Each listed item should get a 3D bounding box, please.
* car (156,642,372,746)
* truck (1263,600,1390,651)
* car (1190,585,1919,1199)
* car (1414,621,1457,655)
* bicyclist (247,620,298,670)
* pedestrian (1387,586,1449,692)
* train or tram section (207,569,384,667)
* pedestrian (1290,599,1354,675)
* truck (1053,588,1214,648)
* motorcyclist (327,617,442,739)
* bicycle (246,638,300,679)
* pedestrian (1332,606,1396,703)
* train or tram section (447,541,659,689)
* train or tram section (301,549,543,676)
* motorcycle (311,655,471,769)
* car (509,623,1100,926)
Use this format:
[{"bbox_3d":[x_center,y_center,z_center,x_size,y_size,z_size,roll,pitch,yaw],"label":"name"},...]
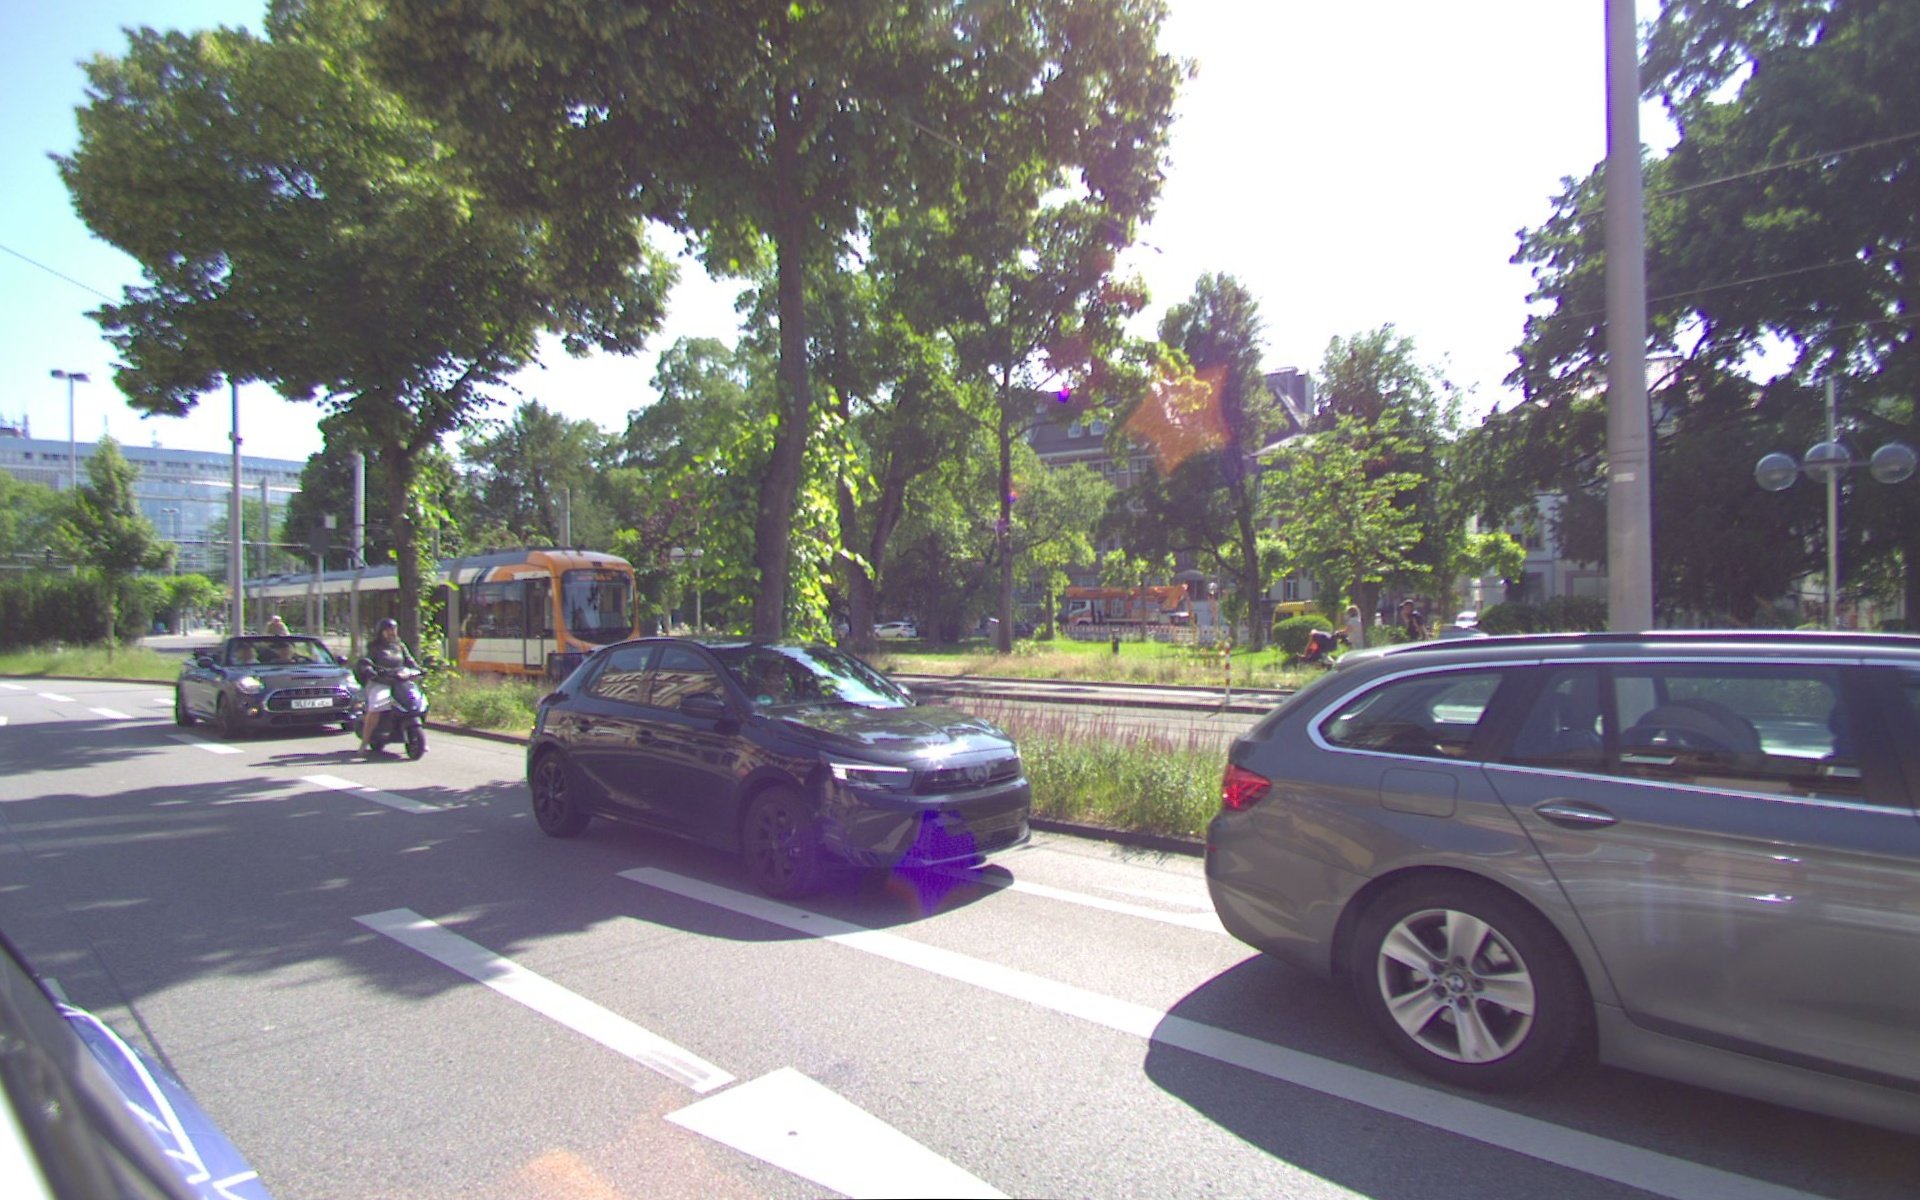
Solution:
[{"bbox_3d":[-10.276,1.280,14.842,3.911,1.318,1.616,-2,-3,40],"label":"car"},{"bbox_3d":[24.566,1.741,68.077,7.639,3.240,2.436,-1,-2,36],"label":"truck"},{"bbox_3d":[3.211,0.726,2.868,4.744,1.497,1.730,-2,-3,41],"label":"car"},{"bbox_3d":[30.231,2.400,64.484,1.985,2.029,4.527,-1,-1,20],"label":"car"},{"bbox_3d":[-19.801,1.275,29.155,1.232,1.404,0.901,-2,-2,40],"label":"bicyclist"},{"bbox_3d":[9.748,0.816,21.537,1.110,2.167,0.803,1,-2,-43],"label":"pedestrian"},{"bbox_3d":[-26.995,0.799,40.738,12.405,3.429,2.731,-2,-2,41],"label":"train or tram section"},{"bbox_3d":[8.024,0.805,22.446,1.023,1.632,0.935,1,-2,-43],"label":"pedestrian"},{"bbox_3d":[13.220,1.468,78.029,11.785,4.295,3.589,-2,-2,35],"label":"truck"},{"bbox_3d":[-6.822,0.893,11.997,0.992,1.369,0.891,-2,-2,40],"label":"motorcyclist"},{"bbox_3d":[-19.769,1.656,29.108,2.495,1.091,0.635,-1,-1,40],"label":"bicycle"},{"bbox_3d":[8.697,1.152,21.780,1.207,2.029,0.803,1,-2,-43],"label":"pedestrian"},{"bbox_3d":[-10.692,0.424,26.387,5.882,3.429,2.732,-2,-2,40],"label":"train or tram section"},{"bbox_3d":[-17.617,0.492,32.460,12.407,3.429,2.730,-2,-2,42],"label":"train or tram section"},{"bbox_3d":[-6.759,1.260,11.973,2.351,1.172,0.891,-2,-2,40],"label":"motorcycle"},{"bbox_3d":[-1.231,0.878,6.781,3.998,1.422,1.774,-2,-2,41],"label":"car"}]
